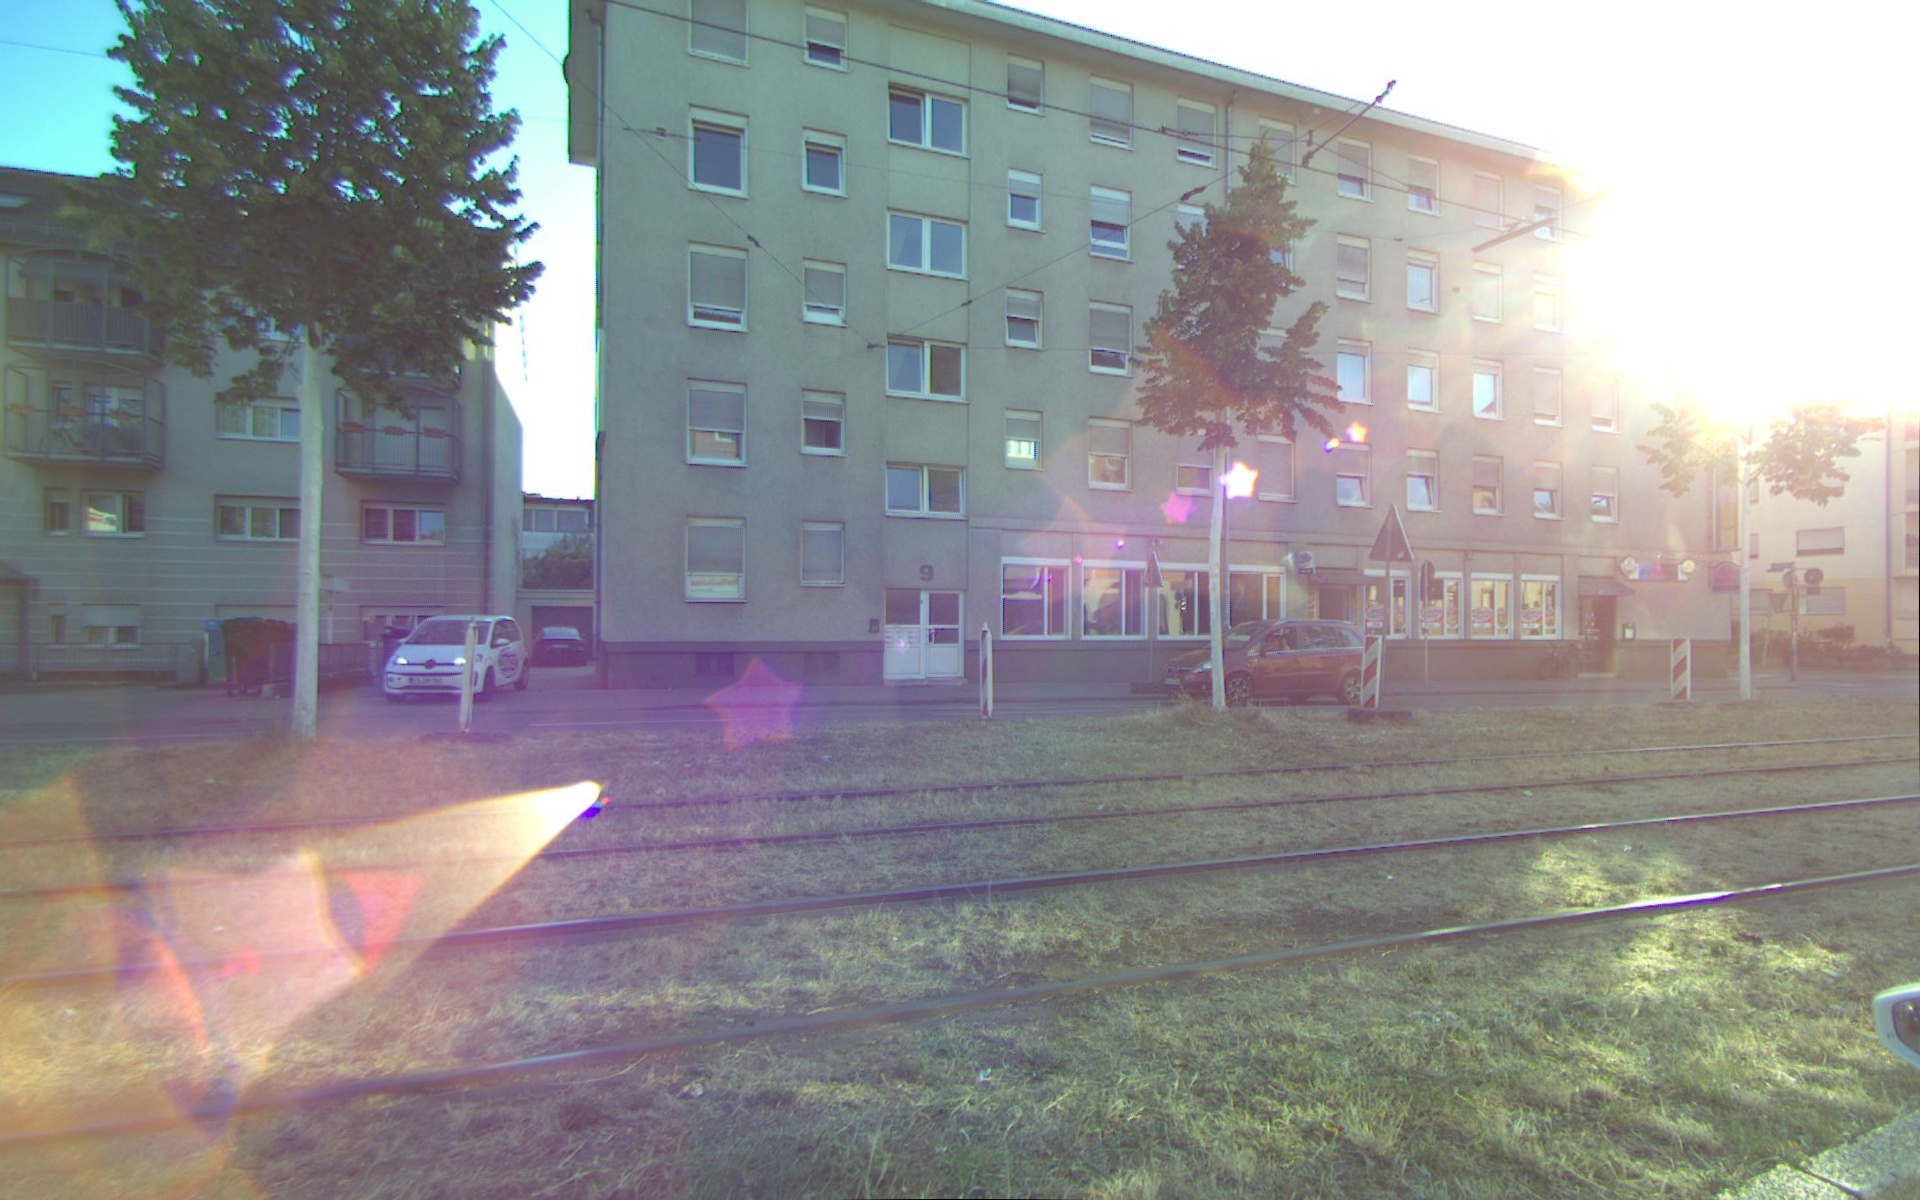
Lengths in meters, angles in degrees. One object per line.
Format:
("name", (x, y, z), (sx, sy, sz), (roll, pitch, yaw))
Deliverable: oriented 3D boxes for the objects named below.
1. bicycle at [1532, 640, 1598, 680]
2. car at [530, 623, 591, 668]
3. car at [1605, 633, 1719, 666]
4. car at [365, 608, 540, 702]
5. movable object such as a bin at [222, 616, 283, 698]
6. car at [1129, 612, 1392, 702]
("bicycle", (17.569, 1.725, 29.158), (1.752, 1.129, 0.745), (1, -1, -22))
("car", (-14.645, 1.640, 36.959), (1.789, 1.437, 3.924), (2, 0, -18))
("car", (32.423, 2.269, 46.488), (1.770, 1.458, 3.939), (2, -2, -30))
("car", (-9.121, 0.986, 18.408), (1.785, 1.532, 3.823), (1, -2, -10))
("movable object such as a bin", (-12.561, 1.001, 17.857), (0.738, 1.419, 0.662), (1, -2, -23))
("car", (5.835, 1.105, 19.441), (4.865, 1.580, 1.808), (2, -3, -23))
